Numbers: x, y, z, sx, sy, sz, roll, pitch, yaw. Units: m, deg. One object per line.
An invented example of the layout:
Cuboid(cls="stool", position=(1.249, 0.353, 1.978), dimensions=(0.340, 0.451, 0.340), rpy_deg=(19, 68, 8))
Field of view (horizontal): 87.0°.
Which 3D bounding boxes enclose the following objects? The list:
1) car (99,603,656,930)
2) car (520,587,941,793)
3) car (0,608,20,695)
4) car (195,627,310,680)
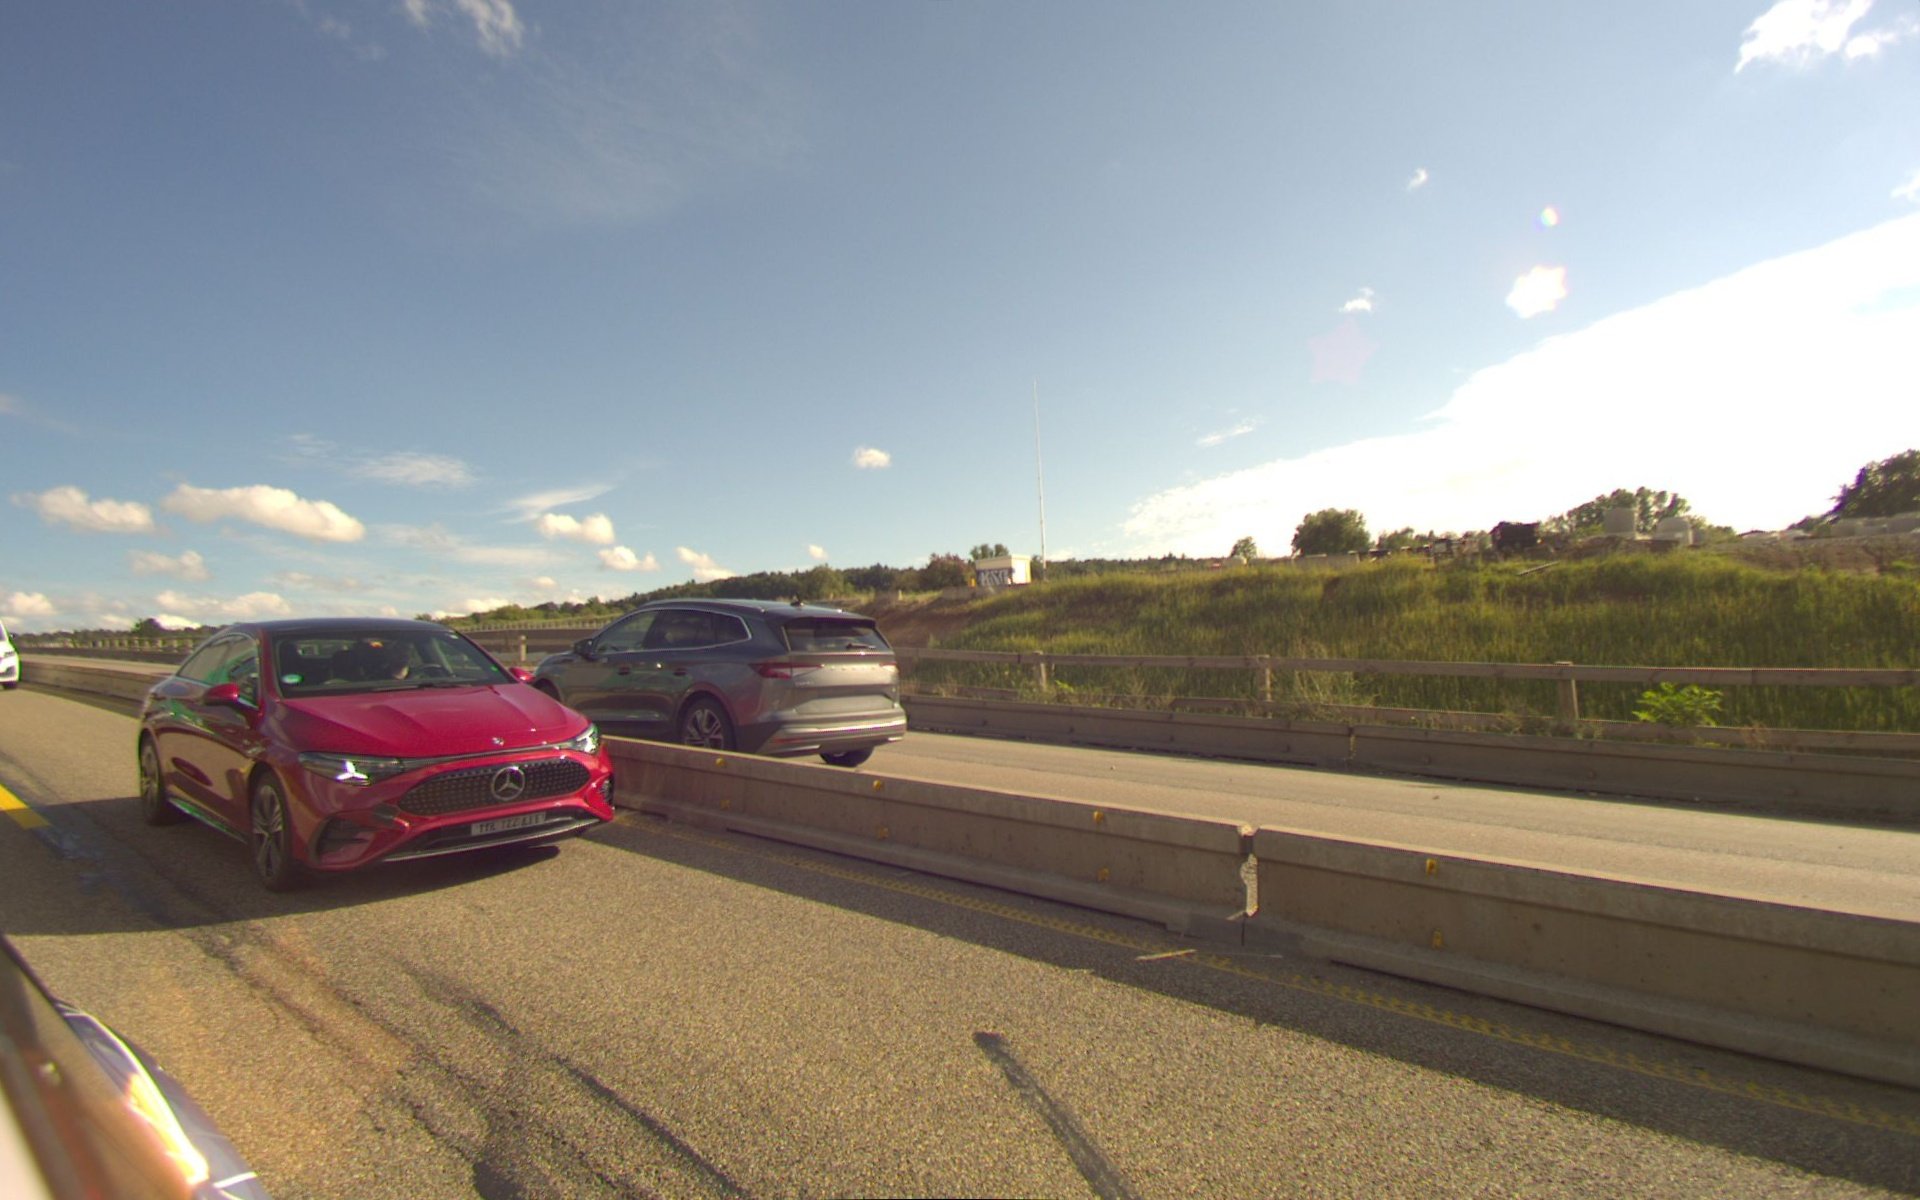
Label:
Cuboid(cls="car", position=(-4.206, 0.831, 6.916), dimensions=(4.680, 1.503, 1.805), rpy_deg=(-2, -1, 40))
Cuboid(cls="car", position=(-2.364, 0.784, 9.828), dimensions=(4.215, 1.575, 1.804), rpy_deg=(-2, -4, 40))
Cuboid(cls="car", position=(-22.363, 1.147, 22.334), dimensions=(4.452, 1.837, 1.805), rpy_deg=(-2, 0, 40))
Cuboid(cls="car", position=(-21.418, 1.613, 30.580), dimensions=(4.215, 1.503, 1.804), rpy_deg=(-2, -4, 40))
